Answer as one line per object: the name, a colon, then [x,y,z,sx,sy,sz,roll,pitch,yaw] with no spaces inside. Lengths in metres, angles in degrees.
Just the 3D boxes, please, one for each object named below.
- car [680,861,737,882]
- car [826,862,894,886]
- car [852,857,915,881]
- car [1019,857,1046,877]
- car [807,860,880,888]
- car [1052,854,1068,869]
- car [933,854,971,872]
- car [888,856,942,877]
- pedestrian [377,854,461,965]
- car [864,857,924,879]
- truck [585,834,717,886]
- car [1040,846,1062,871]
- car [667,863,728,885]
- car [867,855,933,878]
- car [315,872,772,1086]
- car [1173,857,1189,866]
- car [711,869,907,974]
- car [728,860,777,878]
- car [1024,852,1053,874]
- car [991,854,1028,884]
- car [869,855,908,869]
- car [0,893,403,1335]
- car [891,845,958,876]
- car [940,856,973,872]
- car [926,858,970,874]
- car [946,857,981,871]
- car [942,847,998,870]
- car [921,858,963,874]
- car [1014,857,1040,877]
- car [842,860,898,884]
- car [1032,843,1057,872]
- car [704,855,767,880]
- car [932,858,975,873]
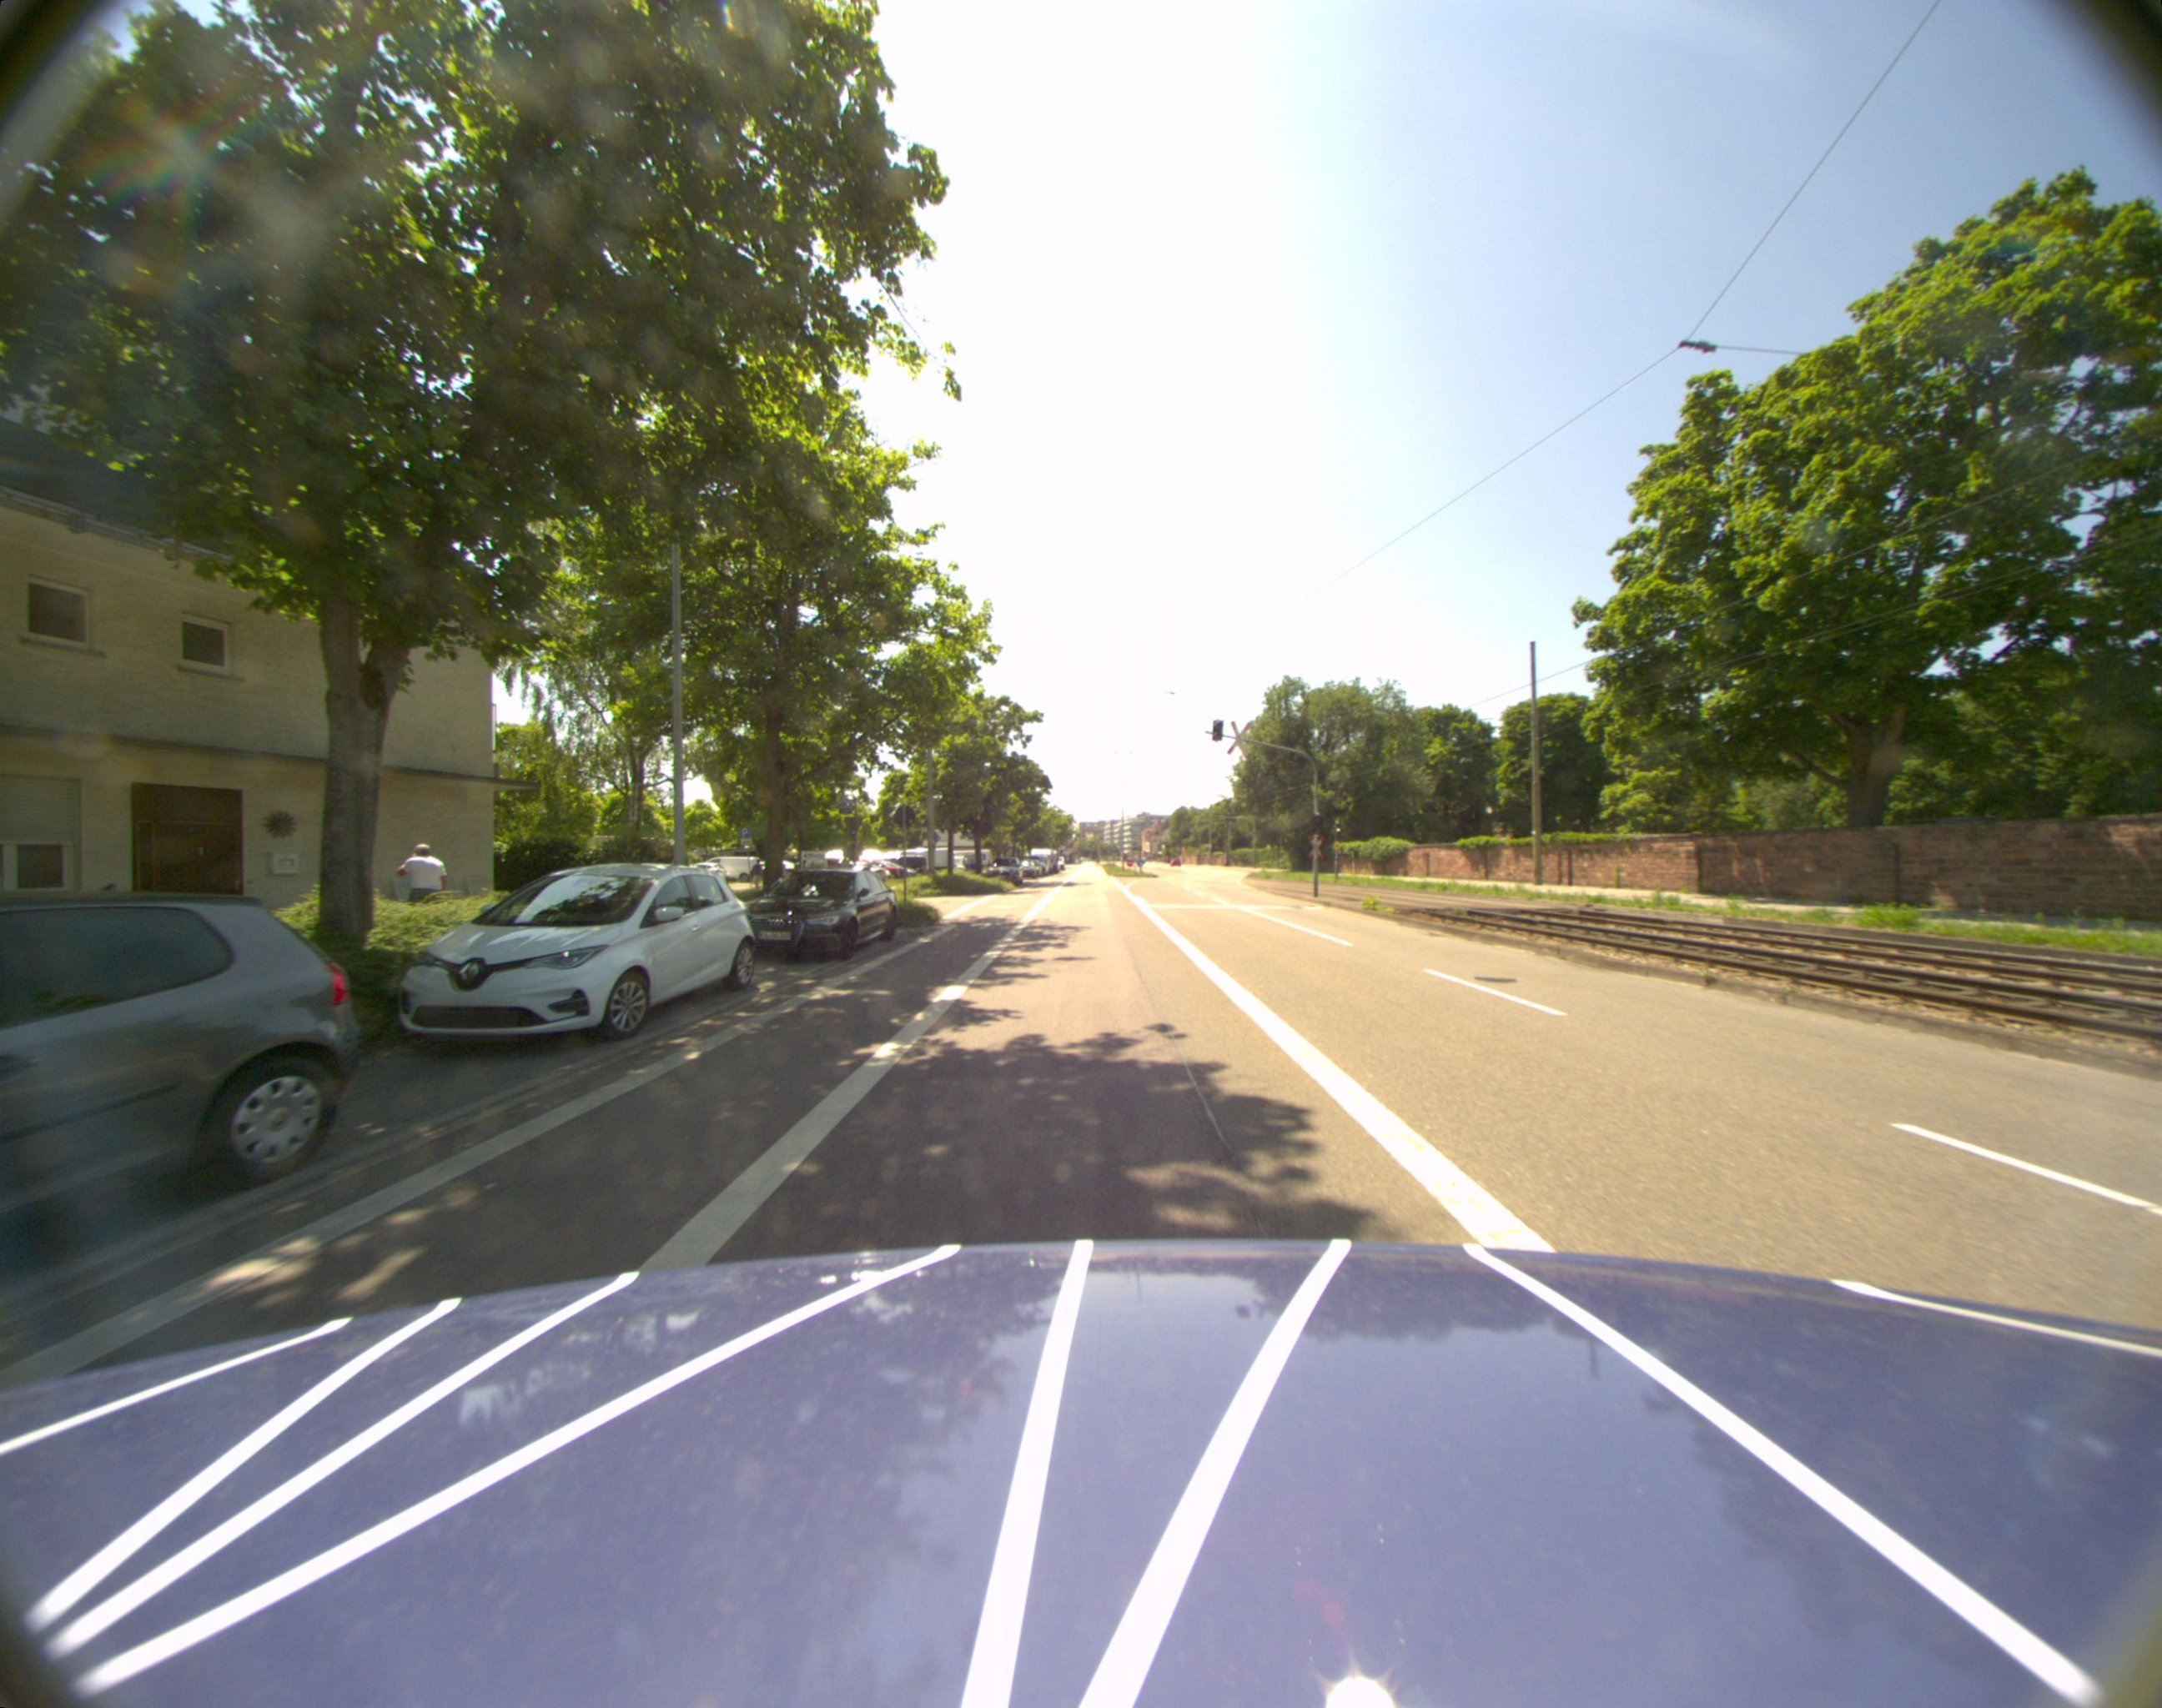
car: [-27.466,1.284,56.103,3.342,1.420,1.682,1,0,3]
car: [-14.459,1.291,49.792,3.869,1.350,1.770,-3,0,2]
car: [-14.286,1.075,54.988,4.031,1.482,1.770,-3,0,-1]
car: [-3.970,1.033,62.860,1.716,1.532,3.841,2,0,3]
car: [-14.634,1.226,46.952,3.870,1.481,1.770,-3,0,-1]
car: [-2.837,1.000,105.022,1.884,1.905,5.125,2,0,2]
car: [-14.011,0.938,82.461,3.790,1.773,1.954,-3,0,-3]
car: [-13.792,1.014,63.090,4.031,1.482,1.770,-3,0,-1]
pedestrian: [-10.614,0.864,12.200,0.749,1.712,0.632,-1,1,-5]
car: [-14.136,1.041,57.487,4.031,1.482,1.770,-3,0,-1]
truck: [-27.291,0.384,48.363,6.964,3.067,2.424,1,0,0]
car: [-3.211,0.479,82.255,2.002,2.621,6.079,2,0,1]
car: [-26.970,1.376,53.482,3.473,1.420,1.682,1,0,3]
car: [-14.362,0.996,60.558,4.703,1.634,1.954,-3,0,2]
car: [-4.984,1.016,7.950,1.845,1.520,4.205,2,0,-2]
car: [18.060,1.343,136.934,1.708,1.405,4.288,-1,0,23]
car: [-4.593,1.054,13.697,1.845,1.427,4.824,2,0,-1]
car: [-27.433,1.237,63.565,3.342,1.420,1.682,1,0,3]
car: [-3.776,0.766,68.574,2.002,1.867,5.277,2,0,3]
car: [-4.238,0.864,45.664,1.716,1.623,4.708,2,1,1]
car: [-26.257,1.099,103.734,4.929,1.889,1.909,1,0,0]
car: [-4.938,1.012,2.336,1.845,1.520,4.352,2,0,-2]
car: [-14.035,0.593,68.387,5.503,2.445,2.095,-3,0,2]
car: [-14.336,1.174,87.767,3.380,1.707,1.728,-3,0,1]
car: [-13.826,1.220,79.326,4.287,1.397,1.727,-3,0,-1]
car: [-13.938,1.188,90.200,3.896,1.463,1.727,-3,0,-1]
car: [-13.598,0.540,93.037,6.355,2.514,2.264,-3,0,4]
car: [-13.995,1.236,76.606,3.896,1.397,1.727,-3,0,-1]
car: [-4.058,0.935,57.725,1.717,1.410,4.708,2,0,-1]
car: [-14.554,1.233,52.559,3.342,1.420,1.682,-3,0,2]
car: [-3.570,0.349,75.509,2.002,2.621,6.143,2,0,1]
car: [-26.541,1.012,58.413,4.010,1.797,1.753,1,0,-2]
car: [-14.239,1.248,85.060,4.418,1.496,1.954,-3,0,-2]
